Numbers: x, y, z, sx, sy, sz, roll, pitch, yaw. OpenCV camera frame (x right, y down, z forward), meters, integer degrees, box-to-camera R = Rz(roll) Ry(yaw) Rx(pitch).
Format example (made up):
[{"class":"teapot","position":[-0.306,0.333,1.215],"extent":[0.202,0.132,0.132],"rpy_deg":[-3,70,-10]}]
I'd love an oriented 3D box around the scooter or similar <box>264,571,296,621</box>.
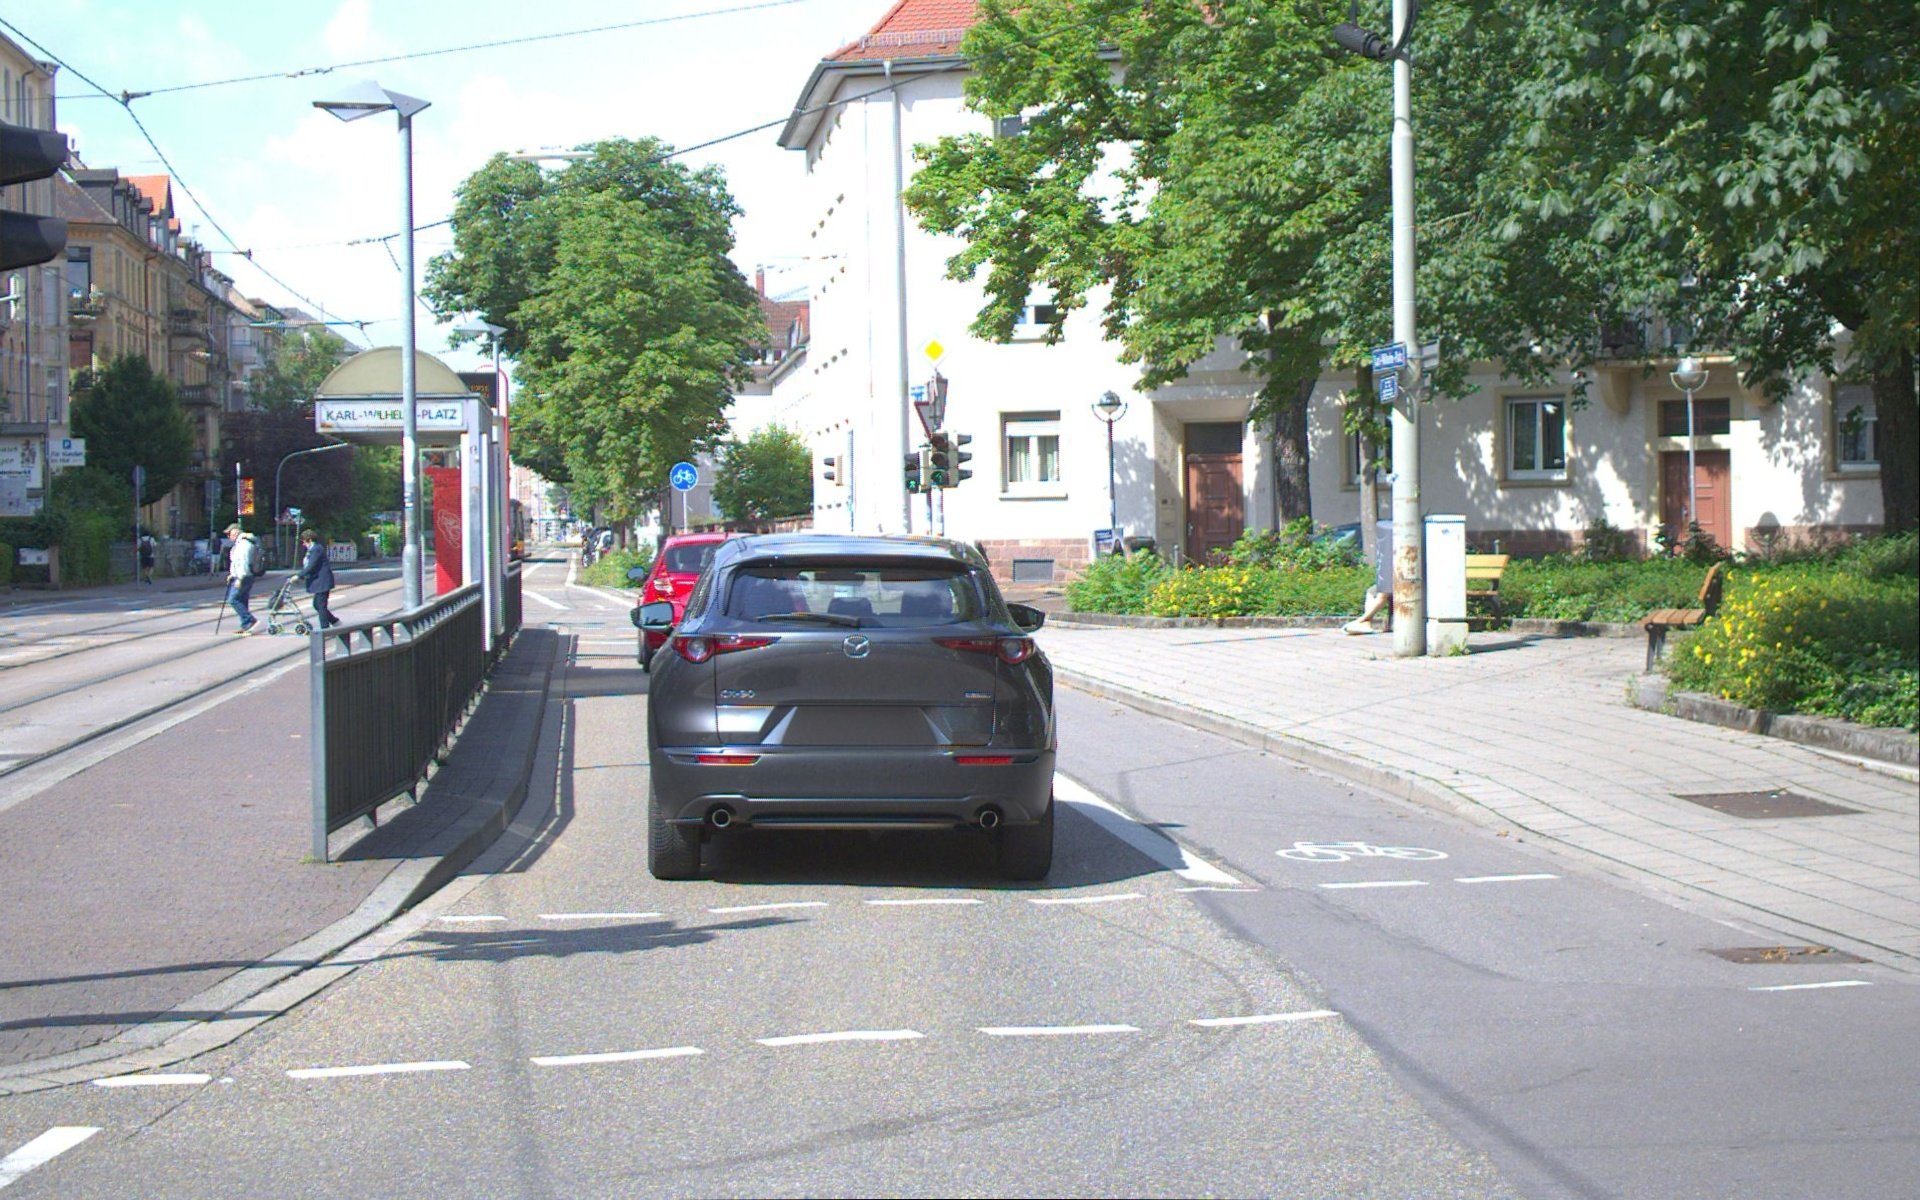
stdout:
[{"class":"scooter or similar","position":[-10.099,-0.065,51.090],"extent":[0.414,0.718,0.486],"rpy_deg":[-1,1,-7]}]

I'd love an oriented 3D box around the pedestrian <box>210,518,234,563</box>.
[{"class":"pedestrian","position":[-27.908,-2.242,129.987],"extent":[0.787,1.682,0.732],"rpy_deg":[-1,1,-4]}]

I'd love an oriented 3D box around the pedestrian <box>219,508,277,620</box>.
[{"class":"pedestrian","position":[-10.735,-0.548,51.839],"extent":[0.770,1.669,0.668],"rpy_deg":[-1,1,-7]}]

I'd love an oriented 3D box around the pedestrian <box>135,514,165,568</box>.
[{"class":"pedestrian","position":[-25.480,-1.858,108.132],"extent":[0.787,1.682,0.732],"rpy_deg":[-1,1,-4]}]

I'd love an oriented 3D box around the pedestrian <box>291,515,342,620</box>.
[{"class":"pedestrian","position":[-9.561,-0.488,51.099],"extent":[0.667,1.540,0.581],"rpy_deg":[-1,1,-7]}]

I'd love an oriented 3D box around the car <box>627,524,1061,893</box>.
[{"class":"car","position":[-0.665,0.419,16.322],"extent":[1.782,1.509,4.001],"rpy_deg":[1,1,-5]}]

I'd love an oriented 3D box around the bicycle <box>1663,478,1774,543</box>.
[{"class":"bicycle","position":[12.452,-1.466,56.469],"extent":[0.565,1.016,1.752],"rpy_deg":[-5,4,-43]}]

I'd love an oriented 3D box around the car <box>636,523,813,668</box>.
[{"class":"car","position":[-2.585,-0.089,37.081],"extent":[1.775,1.459,3.843],"rpy_deg":[1,1,-6]}]

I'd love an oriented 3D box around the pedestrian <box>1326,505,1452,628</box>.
[{"class":"pedestrian","position":[4.688,-0.371,37.572],"extent":[1.192,1.264,0.558],"rpy_deg":[-3,2,-10]}]
